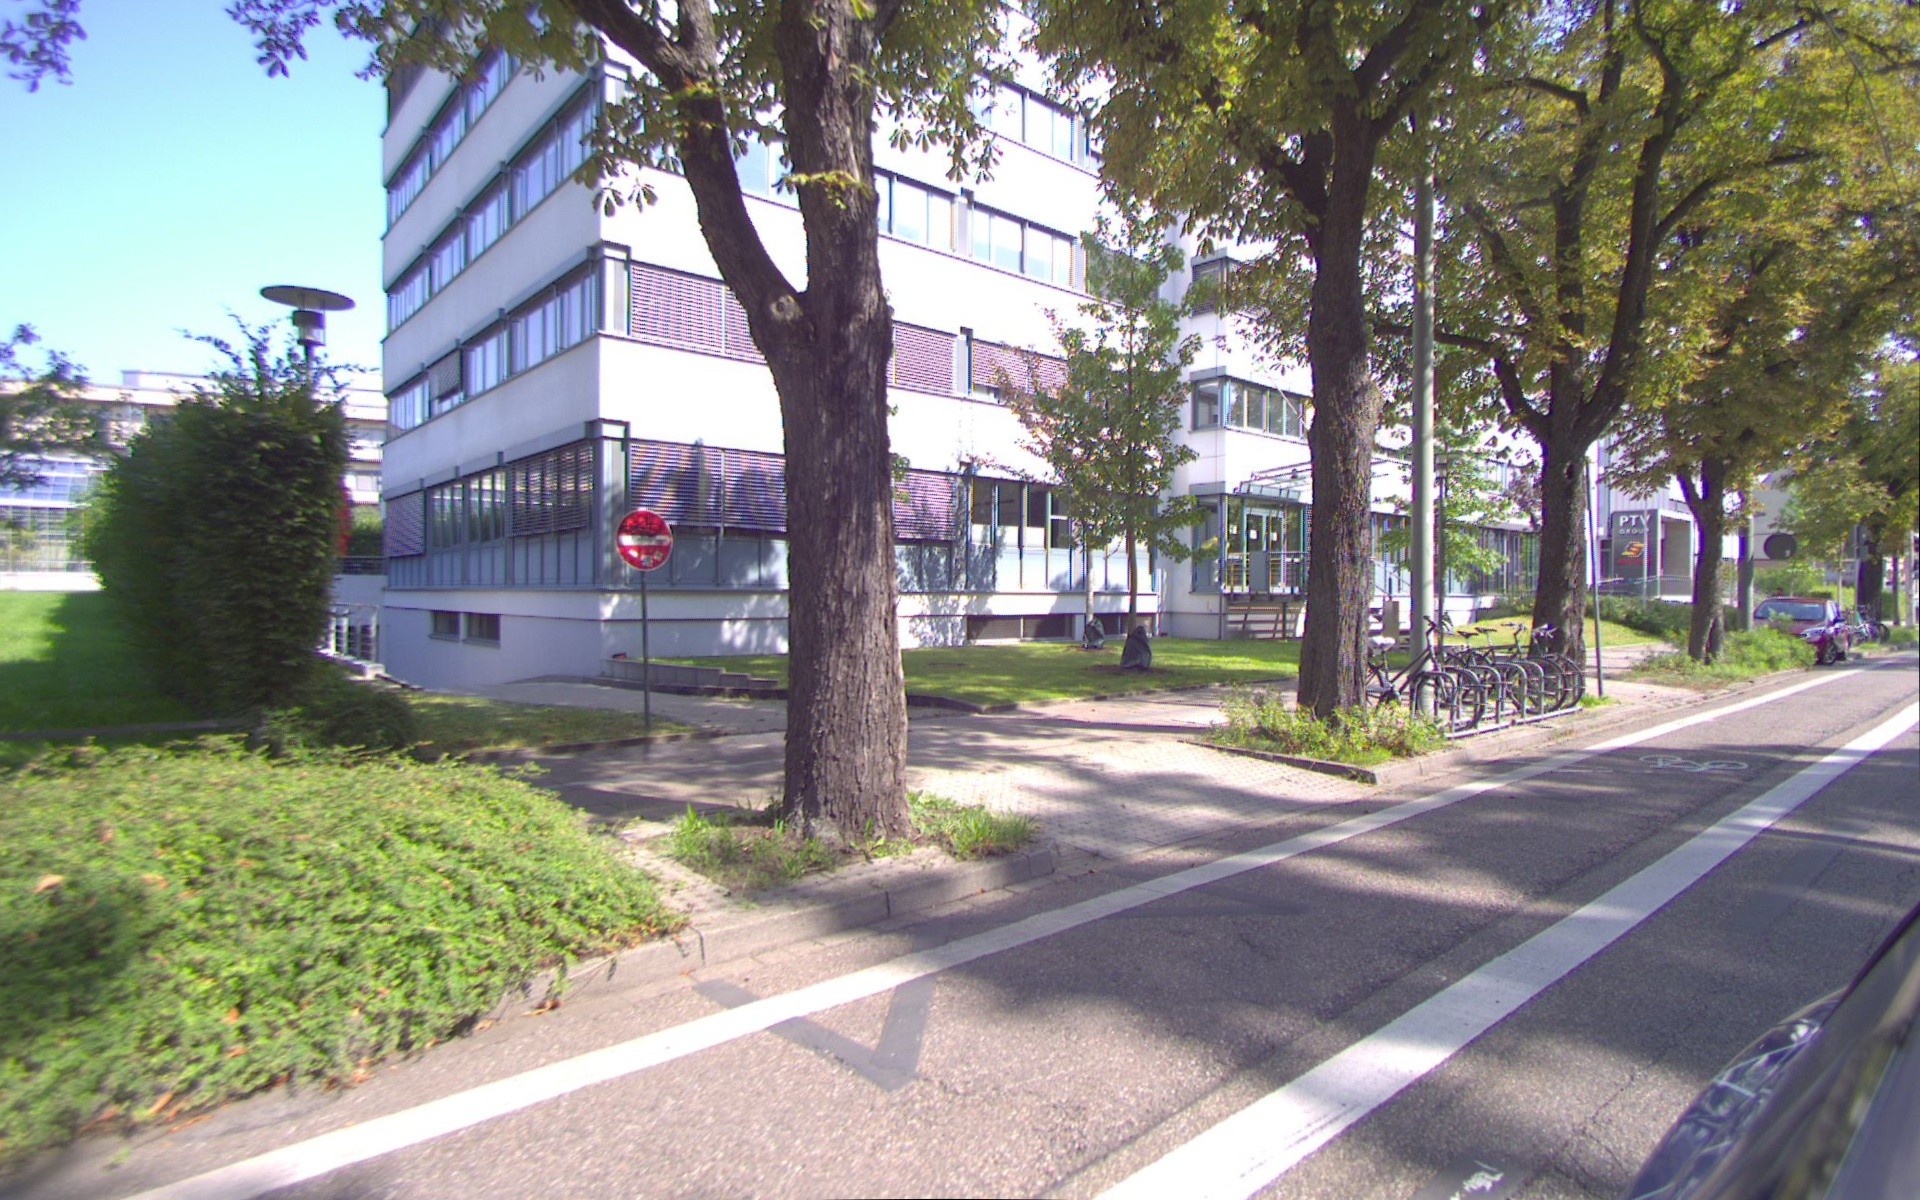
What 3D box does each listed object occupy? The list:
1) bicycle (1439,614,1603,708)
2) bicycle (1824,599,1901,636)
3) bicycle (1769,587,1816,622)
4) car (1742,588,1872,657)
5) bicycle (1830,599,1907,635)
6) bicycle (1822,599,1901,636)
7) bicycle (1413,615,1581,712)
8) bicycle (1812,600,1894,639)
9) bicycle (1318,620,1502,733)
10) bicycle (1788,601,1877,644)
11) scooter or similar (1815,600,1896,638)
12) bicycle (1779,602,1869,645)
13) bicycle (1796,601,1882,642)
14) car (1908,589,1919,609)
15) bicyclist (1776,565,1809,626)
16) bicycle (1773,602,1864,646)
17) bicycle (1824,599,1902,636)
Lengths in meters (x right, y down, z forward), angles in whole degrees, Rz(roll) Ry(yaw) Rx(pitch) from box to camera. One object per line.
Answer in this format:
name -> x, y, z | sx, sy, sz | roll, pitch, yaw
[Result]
bicycle -> 7.196, 0.750, 13.045 | 0.531, 1.063, 1.774 | 0, 1, -41
bicycle -> 28.503, 0.532, 31.985 | 0.531, 1.085, 1.774 | 0, 1, -41
bicycle -> 28.503, 0.137, 34.631 | 1.135, 1.139, 2.498 | 0, 0, 42
car -> 20.337, 0.472, 24.237 | 4.200, 1.480, 1.759 | -1, 1, -41
bicycle -> 29.069, 0.523, 32.407 | 0.531, 1.085, 1.774 | 0, 1, -41
bicycle -> 28.104, 0.538, 31.576 | 0.531, 1.085, 1.774 | 0, 1, -41
bicycle -> 6.667, 0.758, 12.639 | 0.531, 1.063, 1.774 | 0, 1, -41
bicycle -> 26.518, 0.563, 30.073 | 0.531, 1.085, 1.774 | 0, 1, -41
bicycle -> 4.852, 0.786, 11.013 | 0.531, 1.063, 1.774 | 0, 1, -41
bicycle -> 23.818, 0.605, 27.660 | 0.531, 1.085, 1.774 | 0, 1, -41
scooter or similar -> 26.938, 0.557, 30.470 | 0.531, 1.085, 1.774 | 0, 1, -41
bicycle -> 23.187, 0.614, 27.172 | 0.531, 1.085, 1.774 | 0, 1, -41
bicycle -> 24.630, 0.593, 28.376 | 0.531, 1.085, 1.774 | 0, 1, -41
car -> 74.919, -0.067, 76.670 | 4.540, 1.534, 1.930 | 0, 0, 45
bicyclist -> 28.445, -0.156, 34.565 | 0.780, 2.039, 1.255 | -1, 0, 43
bicycle -> 22.672, 0.622, 26.754 | 0.531, 1.085, 1.774 | 0, 1, -41
bicycle -> 28.526, 0.531, 31.991 | 0.531, 1.085, 1.774 | 0, 1, -41
